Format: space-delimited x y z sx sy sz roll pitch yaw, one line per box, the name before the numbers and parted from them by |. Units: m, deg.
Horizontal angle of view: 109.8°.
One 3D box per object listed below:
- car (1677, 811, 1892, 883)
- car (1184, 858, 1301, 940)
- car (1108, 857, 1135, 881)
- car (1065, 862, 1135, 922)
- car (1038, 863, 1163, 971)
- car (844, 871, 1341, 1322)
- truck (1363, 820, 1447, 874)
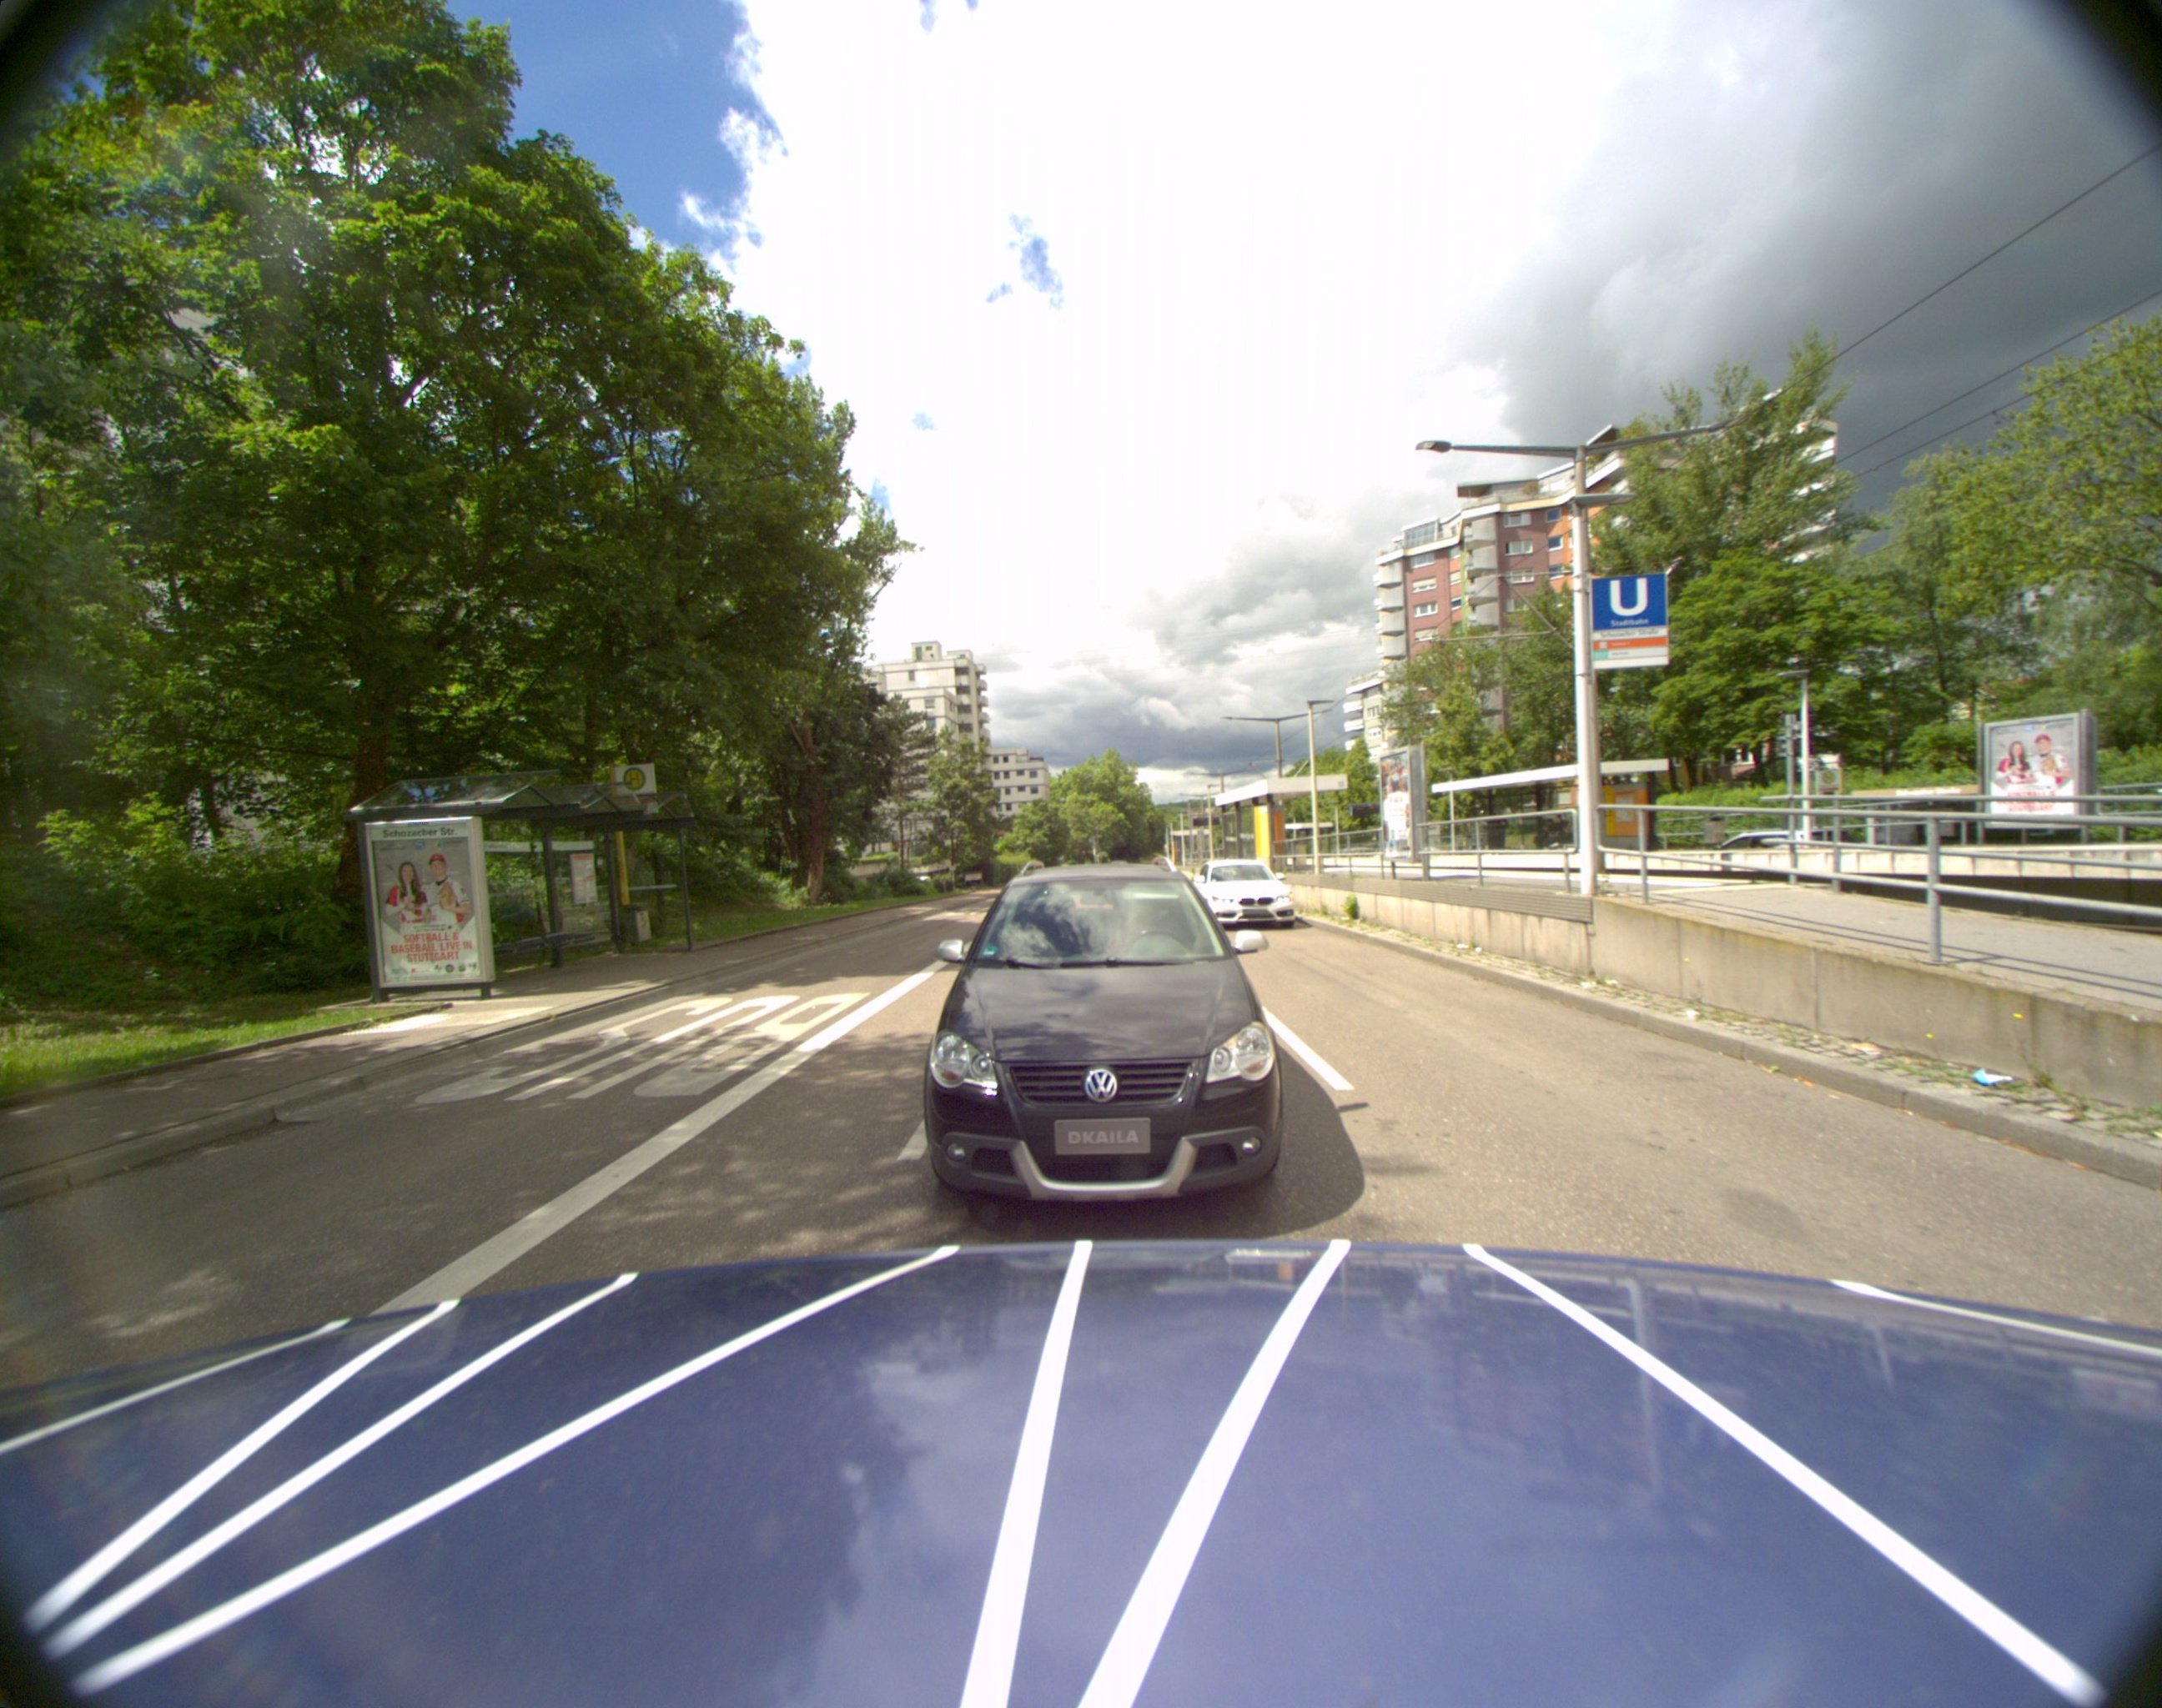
car | 19.611 -0.185 21.516 1.998 1.791 4.510 -1 0 2
car | 3.387 0.883 16.674 1.732 1.453 4.000 -2 0 1
car | 2.905 1.049 54.710 1.732 1.505 4.000 -2 0 1
car | 0.601 0.981 21.432 1.732 1.452 4.001 -2 0 3
car | 0.319 0.938 12.933 1.732 1.453 4.000 -2 0 1
car | 0.078 0.925 4.747 1.732 1.501 4.000 -2 0 1
truck | 20.939 -0.396 49.580 2.420 3.203 7.263 -2 0 1
